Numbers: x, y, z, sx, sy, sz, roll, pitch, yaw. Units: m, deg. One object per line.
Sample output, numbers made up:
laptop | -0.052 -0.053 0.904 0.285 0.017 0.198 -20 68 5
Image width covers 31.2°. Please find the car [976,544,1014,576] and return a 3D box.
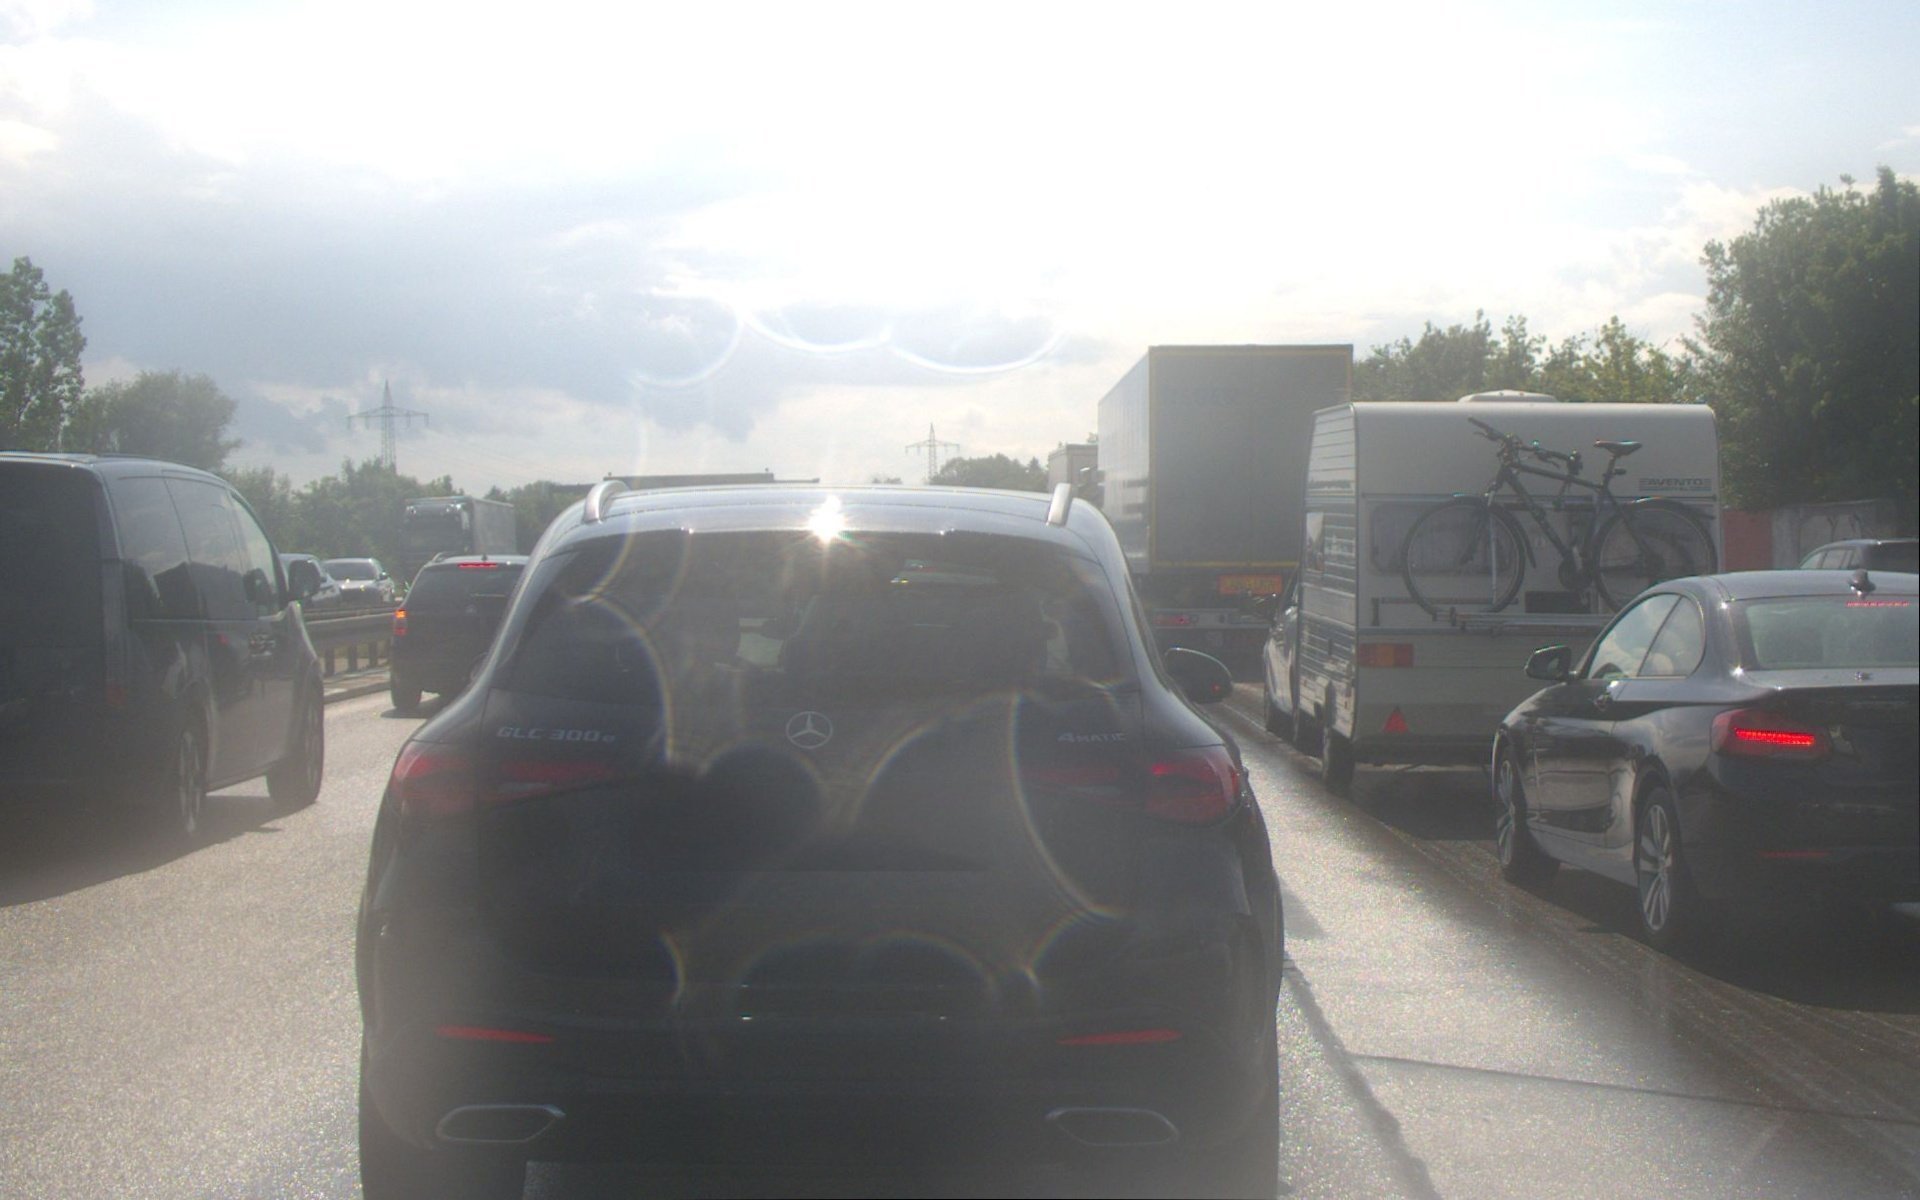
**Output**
car | 1.916 -2.220 190.068 1.876 1.754 4.000 1 1 -2

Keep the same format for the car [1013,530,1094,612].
car | 2.420 -0.763 89.095 1.993 2.007 4.000 2 1 1

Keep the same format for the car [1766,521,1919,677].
car | 10.317 -0.038 37.947 1.820 1.615 4.364 1 1 0

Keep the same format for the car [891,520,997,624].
car | -0.292 -0.566 68.402 1.993 2.007 4.000 0 1 1

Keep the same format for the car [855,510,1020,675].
car | -0.244 -0.119 44.492 1.993 2.007 4.000 1 1 1

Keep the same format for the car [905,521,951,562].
car | -1.432 -2.553 151.448 1.876 1.754 4.000 1 1 -2

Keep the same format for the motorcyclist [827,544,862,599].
motorcyclist | -3.636 -0.892 108.361 1.064 1.712 0.785 0 0 1

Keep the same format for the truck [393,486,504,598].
truck | -19.463 -2.192 131.242 3.005 4.089 7.687 -2 1 0

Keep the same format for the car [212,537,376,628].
car | -11.417 -0.317 59.224 1.993 1.455 4.098 2 1 0

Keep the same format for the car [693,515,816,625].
car | -4.065 -0.615 68.603 1.993 2.007 4.000 4 1 1

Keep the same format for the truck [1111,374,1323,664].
truck | 3.819 -1.204 52.154 2.995 4.152 5.240 1 1 3

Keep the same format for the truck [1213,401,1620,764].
truck | 3.354 -0.152 26.558 2.374 2.468 5.756 1 1 0

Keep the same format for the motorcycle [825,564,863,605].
motorcycle | -3.642 -0.505 108.368 1.074 1.267 2.690 0 1 1

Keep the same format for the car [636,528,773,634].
car | -4.428 -0.355 60.177 1.993 1.766 4.000 -1 1 1

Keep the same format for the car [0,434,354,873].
car | -4.706 0.200 18.338 1.993 2.007 5.269 0 1 0

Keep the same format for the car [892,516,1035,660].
car | 0.097 -0.210 52.962 1.993 2.007 4.000 4 1 1

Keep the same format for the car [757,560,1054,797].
car | -0.274 0.441 22.312 1.757 1.382 3.945 0 1 1

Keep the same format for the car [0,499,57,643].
car | -15.673 -0.452 52.386 1.993 2.200 6.980 1 1 0

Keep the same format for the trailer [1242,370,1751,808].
trailer | 3.340 -0.100 22.949 2.374 2.475 6.523 1 1 0

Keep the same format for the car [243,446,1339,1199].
car | -0.298 0.525 8.463 1.993 1.656 4.406 0 1 0

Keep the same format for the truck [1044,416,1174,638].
truck | 3.350 -1.644 79.106 2.502 4.813 7.543 1 1 -1

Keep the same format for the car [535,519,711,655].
car | -4.441 -0.190 45.883 1.993 1.714 4.000 1 1 -1

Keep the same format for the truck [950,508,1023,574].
truck | 1.608 -3.731 217.420 3.842 4.003 11.223 1 1 -3

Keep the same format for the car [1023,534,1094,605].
car | 2.985 -0.938 105.030 1.993 2.007 4.000 4 1 1

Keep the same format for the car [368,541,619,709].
car | -4.424 0.190 33.156 1.757 1.511 4.209 0 1 1

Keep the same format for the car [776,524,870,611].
car | -3.264 -0.792 82.732 1.993 2.007 4.000 1 1 1

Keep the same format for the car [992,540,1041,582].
car | 2.450 -1.708 149.733 1.876 1.754 4.000 1 1 -2

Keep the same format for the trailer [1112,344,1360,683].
trailer | 3.587 -1.123 46.605 3.007 4.152 8.535 1 1 3

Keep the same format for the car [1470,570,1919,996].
car | 3.387 0.618 14.112 1.848 1.459 4.256 -1 1 -1
